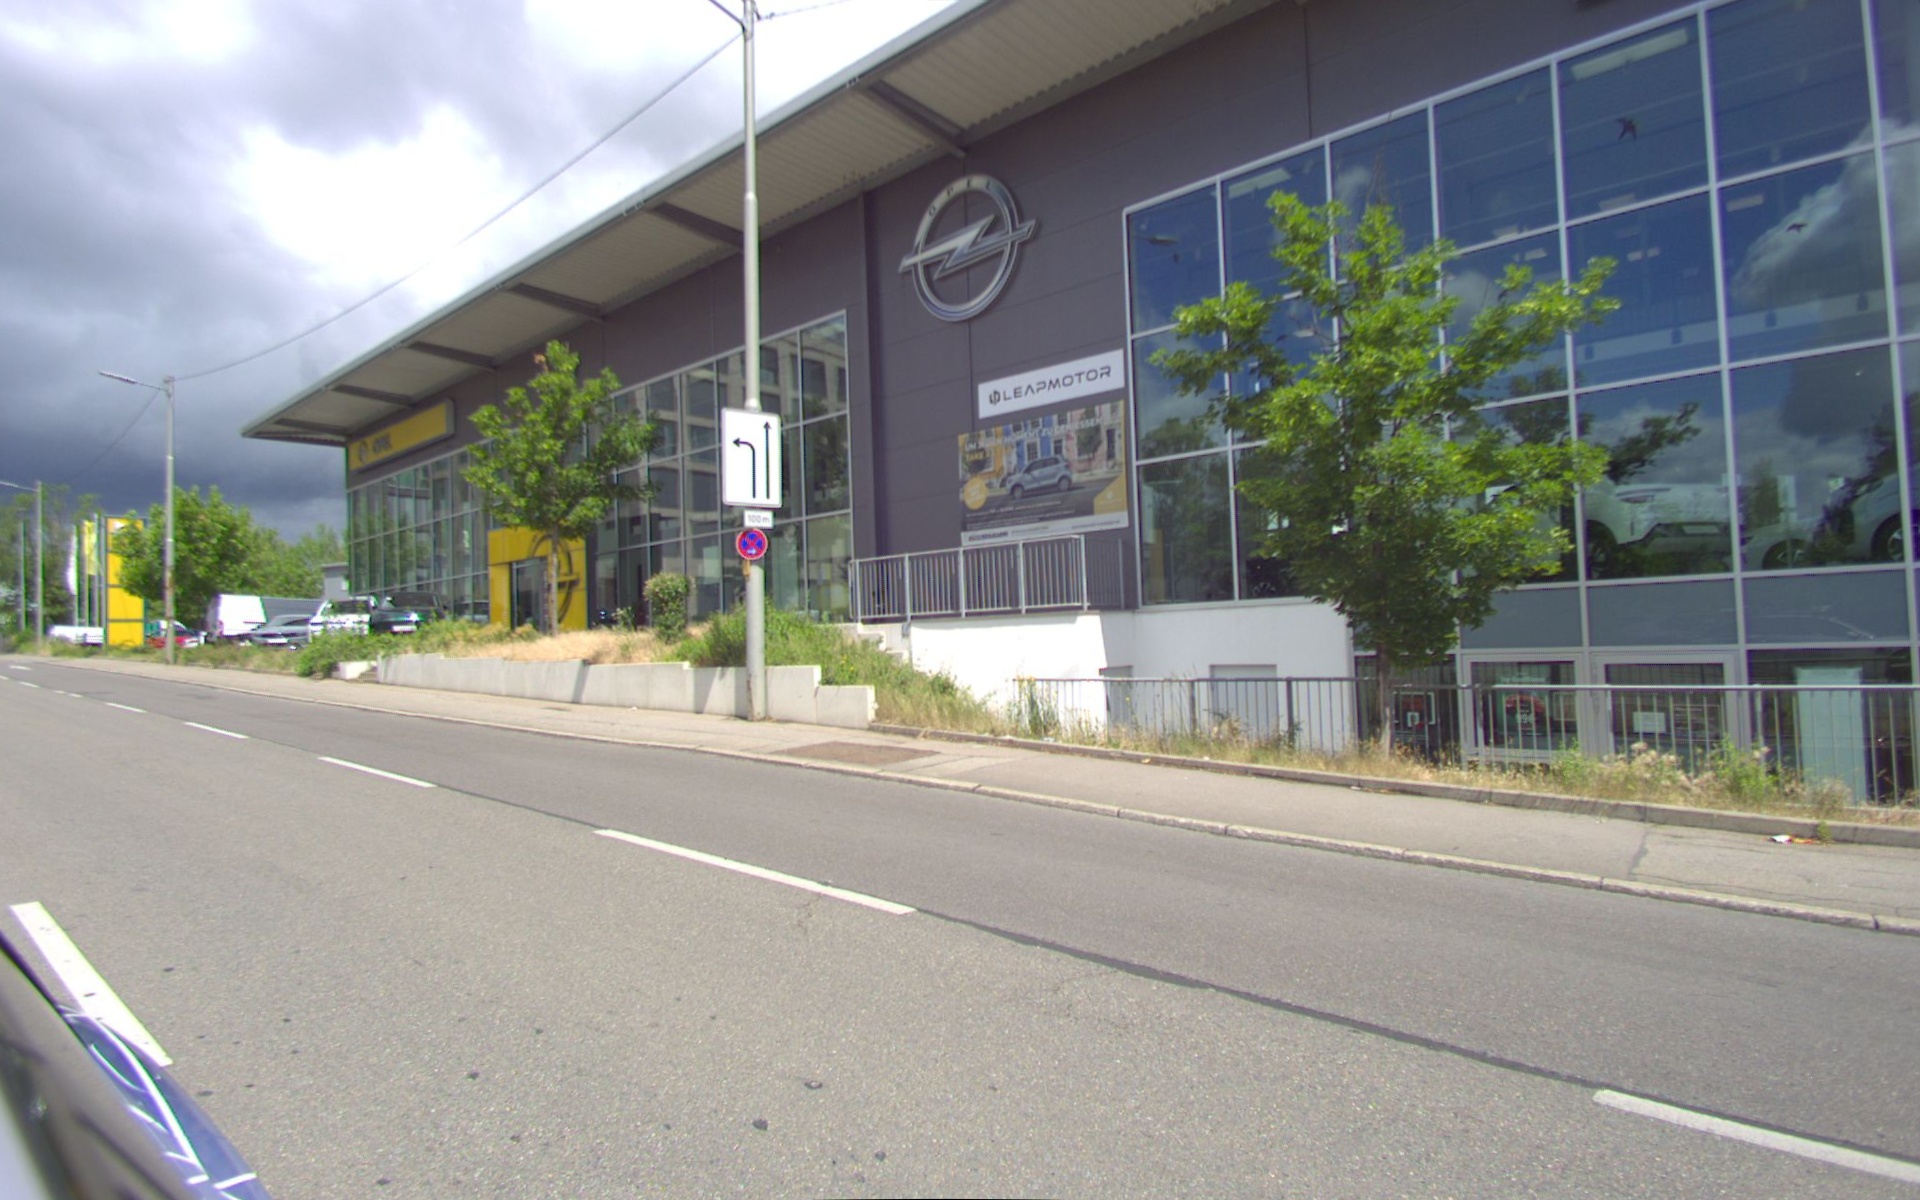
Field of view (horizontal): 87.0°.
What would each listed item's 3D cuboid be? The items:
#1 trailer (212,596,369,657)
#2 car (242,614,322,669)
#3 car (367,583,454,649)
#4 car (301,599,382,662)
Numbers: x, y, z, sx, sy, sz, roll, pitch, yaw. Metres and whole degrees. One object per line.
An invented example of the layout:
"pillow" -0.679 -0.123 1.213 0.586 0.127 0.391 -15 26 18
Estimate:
"trailer" -27.421 1.075 41.605 1.998 2.367 5.011 -1 -2 39
"car" -23.474 1.397 35.152 1.966 1.807 4.012 1 -1 -29
"car" -15.683 0.462 28.802 1.966 1.741 4.011 1 -2 -31
"car" -19.209 0.938 31.590 1.966 1.807 4.012 1 -2 -29
